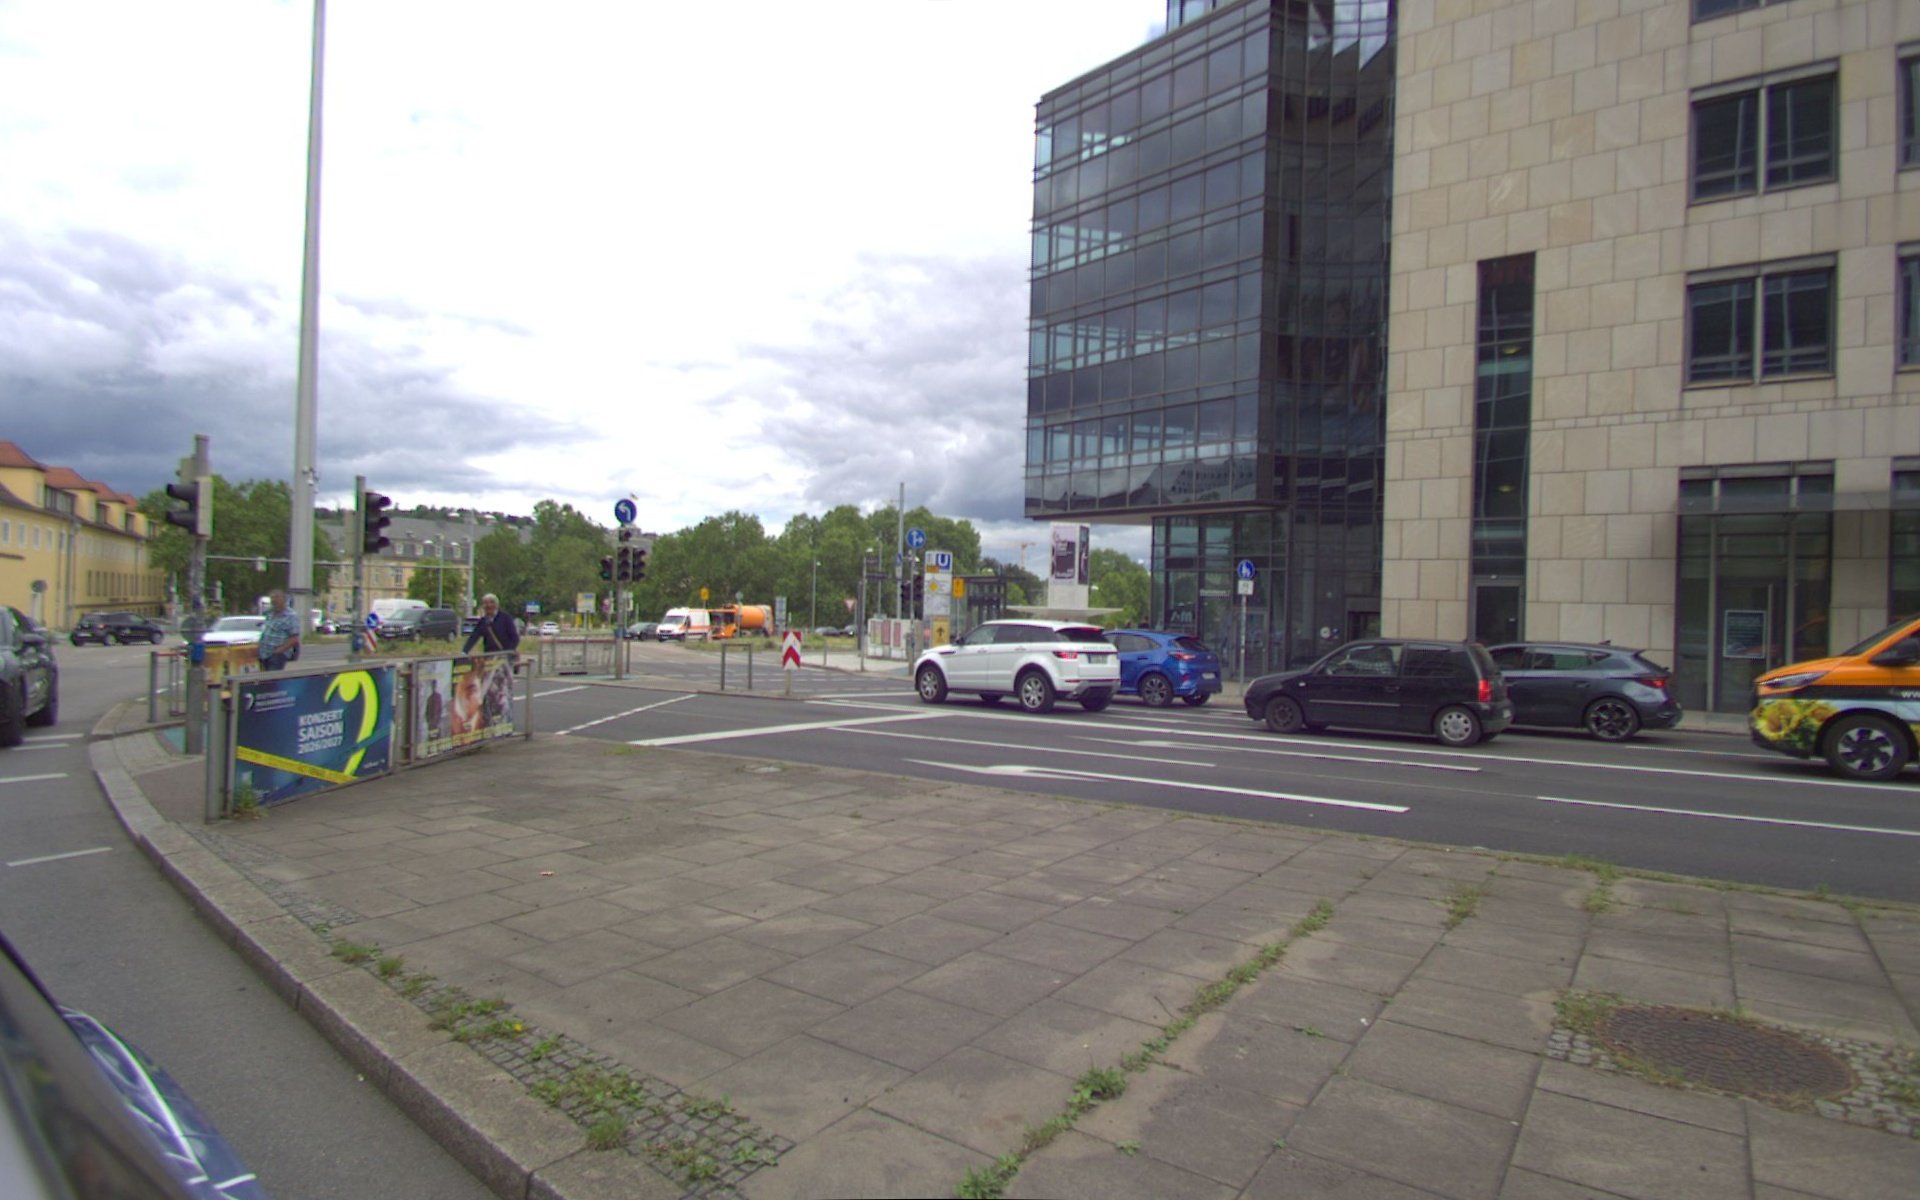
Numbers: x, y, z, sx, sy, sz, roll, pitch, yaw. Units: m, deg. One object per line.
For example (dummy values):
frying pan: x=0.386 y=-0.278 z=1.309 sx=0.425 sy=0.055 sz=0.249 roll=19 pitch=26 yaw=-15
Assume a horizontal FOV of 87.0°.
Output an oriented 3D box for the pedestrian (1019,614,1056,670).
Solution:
pedestrian: x=2.369 y=1.272 z=30.900 sx=0.643 sy=1.625 sz=0.969 roll=1 pitch=1 yaw=-29

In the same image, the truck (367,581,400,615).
truck: x=-63.234 y=-0.123 z=110.999 sx=2.744 sy=3.516 sz=8.374 roll=2 pitch=-2 yaw=-31

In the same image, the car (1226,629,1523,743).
car: x=5.822 y=1.141 z=14.398 sx=3.628 sy=1.390 sz=1.541 roll=-1 pitch=-3 yaw=39

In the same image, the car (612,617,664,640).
car: x=-25.214 y=2.272 z=79.430 sx=1.850 sy=1.752 sz=3.709 roll=0 pitch=-2 yaw=24

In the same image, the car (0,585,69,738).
car: x=-12.571 y=0.680 z=12.423 sx=1.973 sy=1.651 sz=5.032 roll=0 pitch=-1 yaw=-36

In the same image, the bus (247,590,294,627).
bus: x=-65.834 y=0.831 z=96.877 sx=3.377 sy=3.228 sz=13.099 roll=0 pitch=-1 yaw=-33

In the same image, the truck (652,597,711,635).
truck: x=-21.644 y=1.268 z=78.874 sx=1.937 sy=2.805 sz=5.765 roll=1 pitch=-2 yaw=13

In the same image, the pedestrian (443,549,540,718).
pedestrian: x=-6.291 y=0.443 z=13.624 sx=0.757 sy=2.189 sz=0.873 roll=0 pitch=-2 yaw=19

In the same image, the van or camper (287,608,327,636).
van or camper: x=-56.890 y=1.955 z=88.291 sx=2.334 sy=2.280 sz=6.307 roll=2 pitch=-2 yaw=-28

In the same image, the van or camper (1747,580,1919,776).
van or camper: x=11.058 y=0.810 z=10.035 sx=5.076 sy=1.936 sz=1.895 roll=0 pitch=-3 yaw=38

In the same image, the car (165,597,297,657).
car: x=-22.141 y=0.880 z=30.941 sx=2.061 sy=1.621 sz=4.425 roll=-2 pitch=-2 yaw=-19

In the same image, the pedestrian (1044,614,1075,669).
pedestrian: x=3.075 y=1.268 z=31.415 sx=0.595 sy=1.643 sz=0.789 roll=0 pitch=2 yaw=-30

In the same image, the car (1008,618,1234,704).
car: x=3.203 y=1.151 z=20.442 sx=4.087 sy=1.537 sz=1.974 roll=0 pitch=-2 yaw=39

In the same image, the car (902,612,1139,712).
car: x=1.005 y=1.055 z=18.667 sx=1.714 sy=1.611 sz=4.321 roll=2 pitch=-2 yaw=-45

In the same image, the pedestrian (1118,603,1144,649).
pedestrian: x=6.420 y=0.975 z=37.939 sx=0.632 sy=1.713 sz=0.759 roll=-1 pitch=-2 yaw=42

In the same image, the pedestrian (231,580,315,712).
pedestrian: x=-9.688 y=0.657 z=14.276 sx=0.633 sy=1.804 sz=0.708 roll=-2 pitch=-6 yaw=37

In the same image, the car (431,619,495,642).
car: x=-33.335 y=2.020 z=67.999 sx=1.923 sy=1.494 sz=4.624 roll=-1 pitch=-1 yaw=2

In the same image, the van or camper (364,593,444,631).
van or camper: x=-37.936 y=0.820 z=69.279 sx=2.117 sy=2.496 sz=6.160 roll=0 pitch=-1 yaw=0

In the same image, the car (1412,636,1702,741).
car: x=9.000 y=1.270 z=15.386 sx=3.628 sy=1.352 sz=1.541 roll=-1 pitch=-3 yaw=39

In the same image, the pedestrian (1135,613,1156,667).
pedestrian: x=6.441 y=1.367 z=35.044 sx=0.689 sy=1.824 sz=0.929 roll=0 pitch=-1 yaw=12

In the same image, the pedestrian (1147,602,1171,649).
pedestrian: x=7.439 y=0.951 z=37.875 sx=0.632 sy=1.713 sz=0.635 roll=-1 pitch=-2 yaw=42

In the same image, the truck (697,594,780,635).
truck: x=-20.974 y=1.485 z=96.431 sx=2.713 sy=3.644 sz=9.100 roll=-1 pitch=-3 yaw=25

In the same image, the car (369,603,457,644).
car: x=-28.399 y=1.221 z=52.720 sx=1.836 sy=2.003 sz=4.637 roll=2 pitch=-1 yaw=3
